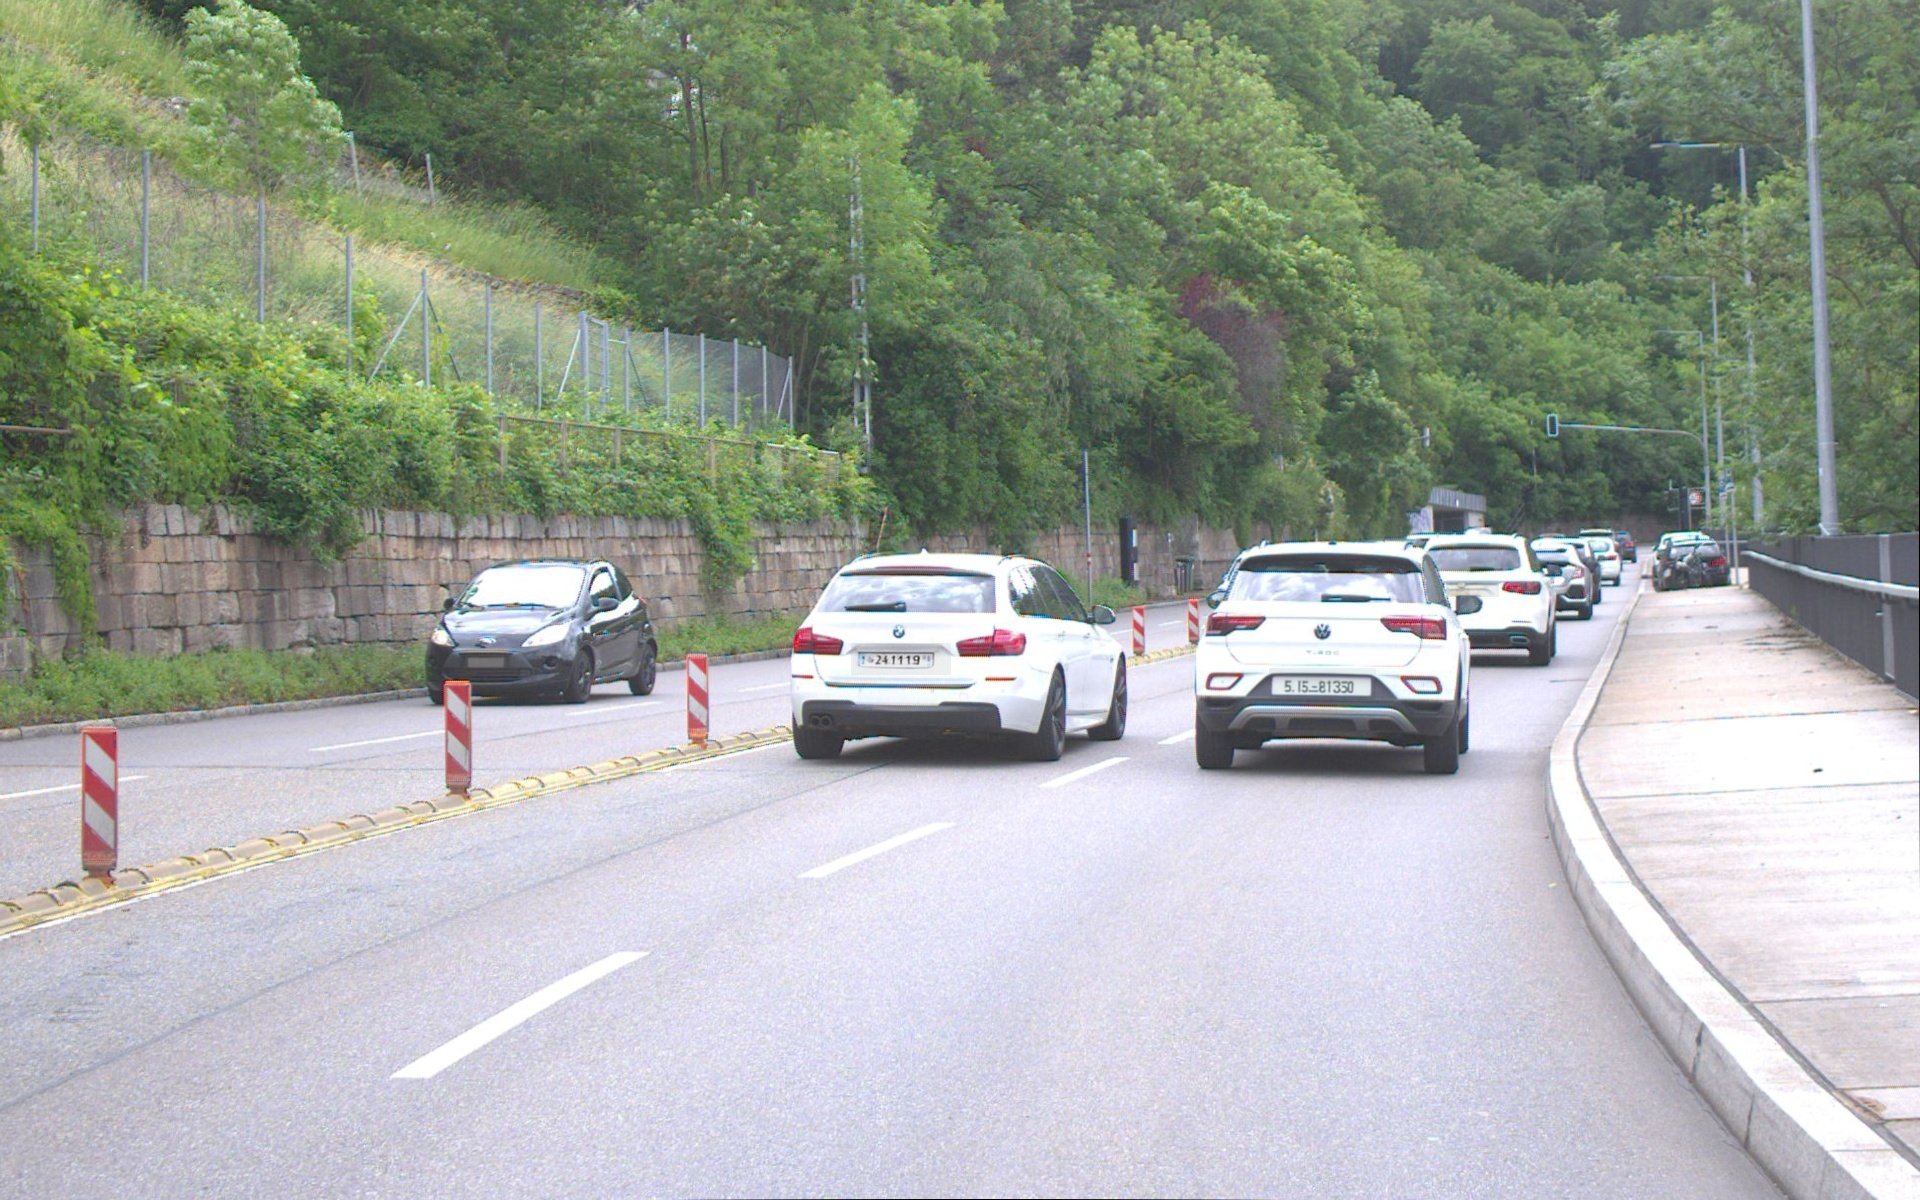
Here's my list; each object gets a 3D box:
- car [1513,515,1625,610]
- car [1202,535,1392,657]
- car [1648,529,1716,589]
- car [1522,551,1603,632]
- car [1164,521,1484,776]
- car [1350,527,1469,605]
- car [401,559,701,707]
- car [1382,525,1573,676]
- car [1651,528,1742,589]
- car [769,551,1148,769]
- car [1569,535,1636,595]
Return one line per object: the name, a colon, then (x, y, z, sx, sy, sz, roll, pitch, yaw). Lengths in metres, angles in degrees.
car: (11.321, -0.691, 63.955, 1.994, 1.711, 3.998, 0, 0, 10)
car: (4.704, -0.098, 47.375, 1.995, 1.498, 4.665, 1, 2, 13)
car: (22.011, -1.260, 104.726, 1.994, 1.712, 4.112, 0, 2, 12)
car: (13.598, -0.197, 77.536, 1.745, 1.775, 3.532, 0, 0, 10)
car: (2.663, 0.293, 24.368, 1.829, 1.600, 3.998, 2, 1, 12)
car: (9.605, -0.740, 73.138, 1.995, 1.498, 4.665, -1, 2, 14)
car: (-4.174, 0.294, 35.712, 1.707, 1.437, 3.997, 0, 1, 15)
car: (6.651, -0.023, 43.882, 1.994, 1.712, 4.111, -4, 0, 13)
car: (18.715, -1.048, 87.506, 1.815, 1.503, 3.999, 0, 1, 6)
car: (0.097, 0.378, 25.342, 1.829, 1.455, 4.483, -1, 1, 13)
car: (20.024, -1.087, 107.215, 1.994, 1.853, 3.998, 0, 0, 10)
